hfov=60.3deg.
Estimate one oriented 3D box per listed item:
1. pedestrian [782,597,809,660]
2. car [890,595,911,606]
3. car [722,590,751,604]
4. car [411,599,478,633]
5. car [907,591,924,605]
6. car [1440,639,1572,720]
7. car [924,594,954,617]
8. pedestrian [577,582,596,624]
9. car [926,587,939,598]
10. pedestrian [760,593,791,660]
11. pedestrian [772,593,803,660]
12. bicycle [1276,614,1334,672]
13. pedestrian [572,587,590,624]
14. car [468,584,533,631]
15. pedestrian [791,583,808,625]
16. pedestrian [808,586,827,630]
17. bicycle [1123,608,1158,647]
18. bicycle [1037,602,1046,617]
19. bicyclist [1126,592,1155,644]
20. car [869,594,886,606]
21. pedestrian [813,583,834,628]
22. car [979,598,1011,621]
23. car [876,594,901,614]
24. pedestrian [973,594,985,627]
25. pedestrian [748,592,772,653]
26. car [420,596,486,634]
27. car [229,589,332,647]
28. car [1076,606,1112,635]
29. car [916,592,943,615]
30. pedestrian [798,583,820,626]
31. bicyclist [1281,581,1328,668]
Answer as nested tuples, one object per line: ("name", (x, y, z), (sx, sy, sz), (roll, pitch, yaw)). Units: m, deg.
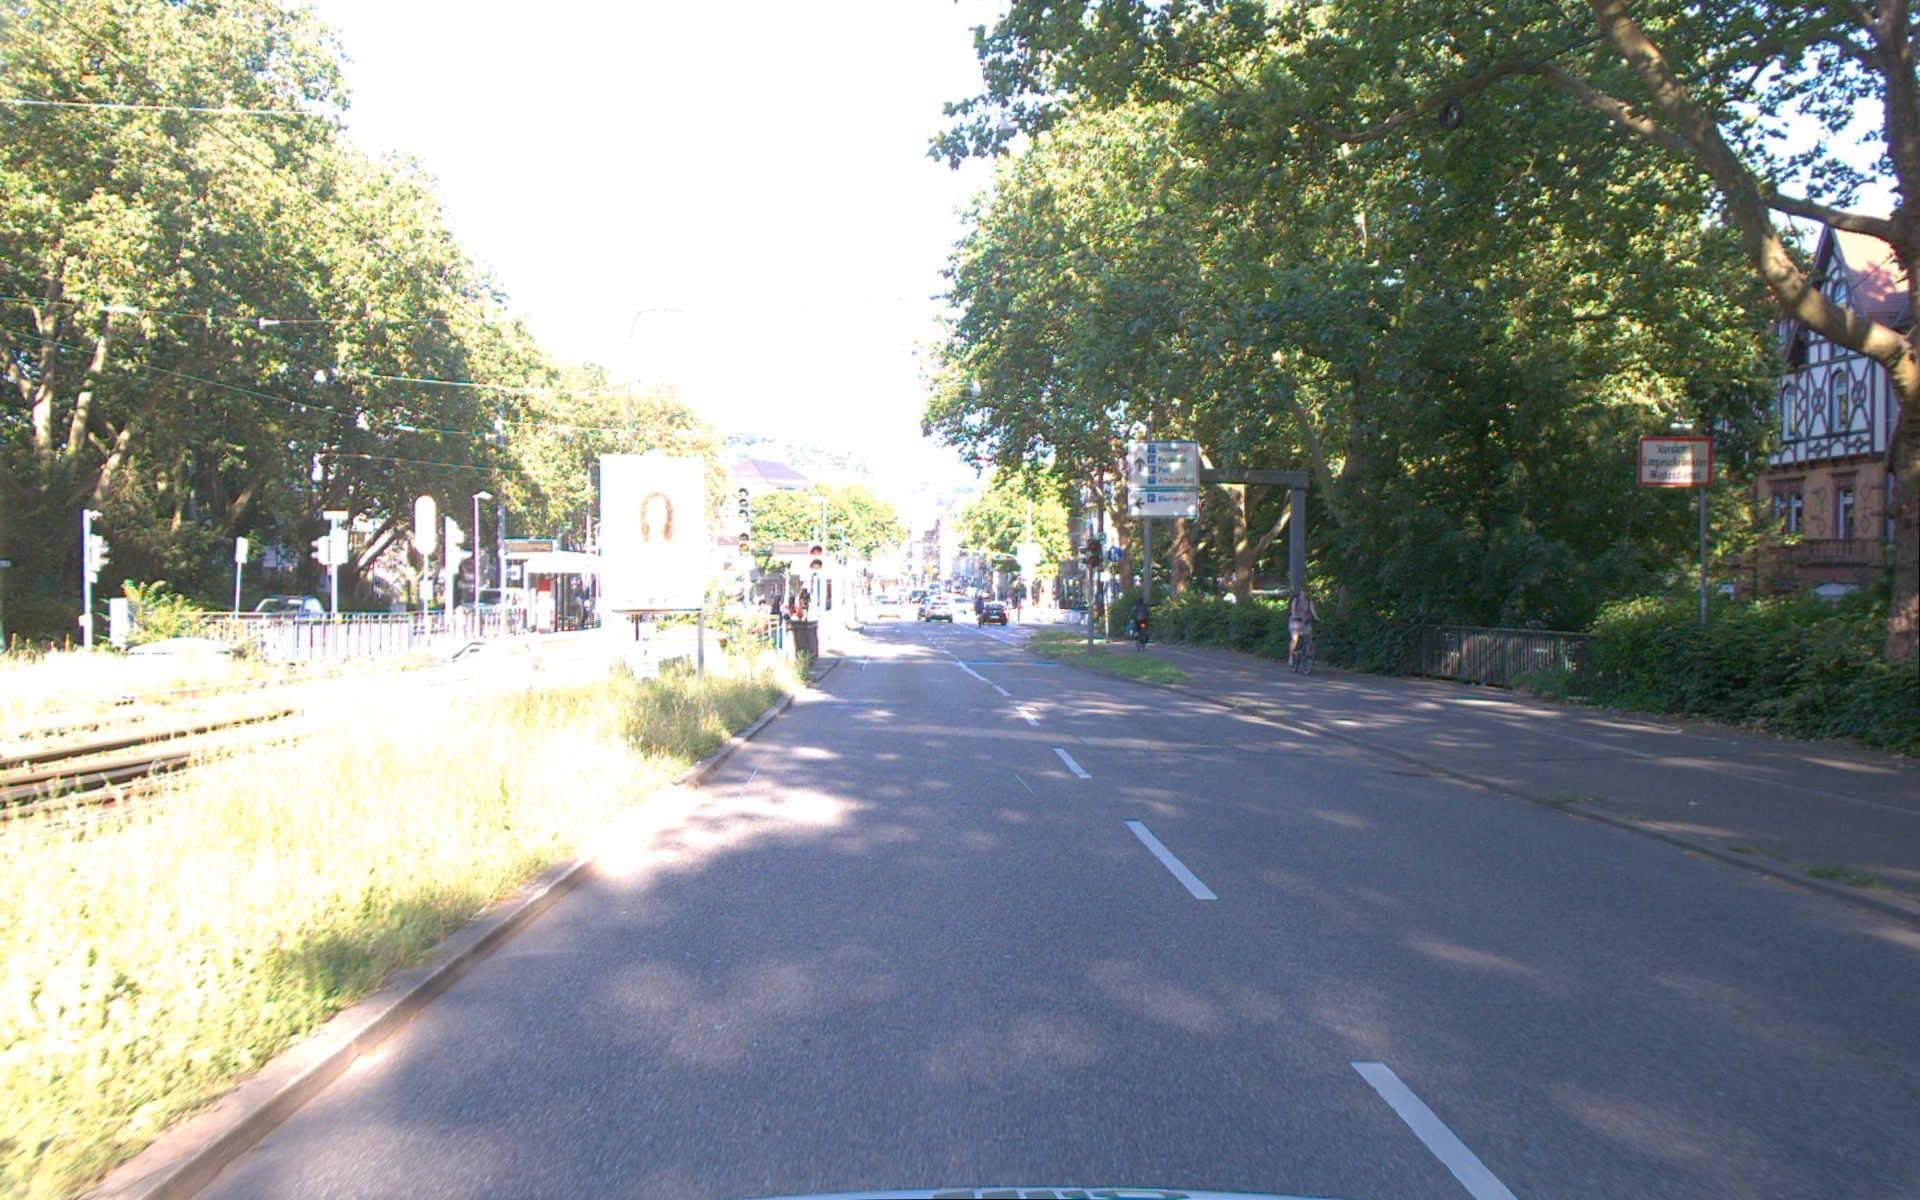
("pedestrian", (-4.094, 0.708, 41.113), (0.578, 1.546, 0.514), (-2, 0, -2))
("car", (-8.104, 0.098, 224.558), (1.756, 1.537, 4.002), (0, 0, 16))
("car", (-27.120, -0.351, 200.633), (1.880, 1.677, 4.182), (0, 0, 18))
("car", (-21.643, 0.673, 69.626), (1.735, 1.314, 4.311), (-2, 0, -4))
("car", (-6.227, -0.270, 232.098), (1.756, 1.858, 4.003), (0, 0, 7))
("car", (13.955, 1.986, 42.530), (1.865, 1.844, 4.097), (1, 0, -3))
("car", (-1.486, 0.373, 114.853), (1.891, 1.498, 4.852), (1, 0, -3))
("pedestrian", (-15.944, 0.126, 70.599), (0.635, 1.803, 0.650), (1, -1, 0))
("car", (-4.116, -1.124, 246.828), (1.759, 1.537, 3.997), (0, 0, -4))
("pedestrian", (-4.459, 0.638, 39.977), (0.510, 1.595, 0.507), (-2, 0, 27))
("pedestrian", (-4.203, 0.649, 40.397), (0.510, 1.595, 0.507), (-2, 0, 27))
("bicycle", (7.052, 0.855, 33.886), (0.685, 1.127, 1.928), (0, 0, -4))
("pedestrian", (-16.019, 0.234, 69.914), (0.581, 1.571, 0.626), (1, -1, -2))
("car", (-22.141, 0.362, 79.910), (2.026, 2.161, 5.085), (-2, 0, -4))
("pedestrian", (-6.204, 0.160, 64.046), (0.576, 1.594, 0.650), (2, 0, -2))
("pedestrian", (-6.138, 0.336, 71.239), (0.637, 1.873, 0.711), (1, 0, 7))
("bicycle", (5.374, 0.809, 49.249), (0.751, 1.127, 1.799), (0, 0, -3))
("bicycle", (6.191, 0.745, 125.626), (0.488, 1.093, 1.799), (1, -1, -3))
("bicyclist", (5.367, 0.532, 49.241), (0.751, 1.539, 0.650), (0, 0, -3))
("car", (-10.825, 0.011, 216.351), (1.756, 1.537, 4.002), (0, 0, 4))
("pedestrian", (-5.288, 0.224, 64.175), (0.727, 1.724, 0.791), (2, 0, -2))
("car", (2.310, 0.623, 109.949), (1.764, 1.464, 4.043), (2, 0, -3))
("car", (-5.351, 0.296, 123.731), (1.772, 1.478, 3.997), (1, 0, -3))
("pedestrian", (1.103, 0.618, 96.499), (0.644, 1.904, 0.677), (0, 0, -3))
("pedestrian", (-5.028, 0.571, 41.556), (0.509, 1.498, 0.514), (-2, 0, -2))
("car", (-21.790, 0.625, 71.202), (1.759, 1.537, 4.337), (-2, 0, -4))
("car", (-20.961, 0.544, 51.192), (1.866, 1.681, 3.968), (-2, 0, -6))
("car", (9.180, 1.415, 113.380), (1.759, 1.931, 4.355), (1, -1, -5))
("car", (-2.277, 0.248, 122.153), (1.764, 1.666, 4.042), (1, 0, -3))
("pedestrian", (-6.359, 0.192, 69.626), (0.647, 1.752, 0.701), (2, 0, -38))
("bicyclist", (7.056, 0.487, 33.886), (0.685, 1.758, 1.079), (0, 0, -4))
